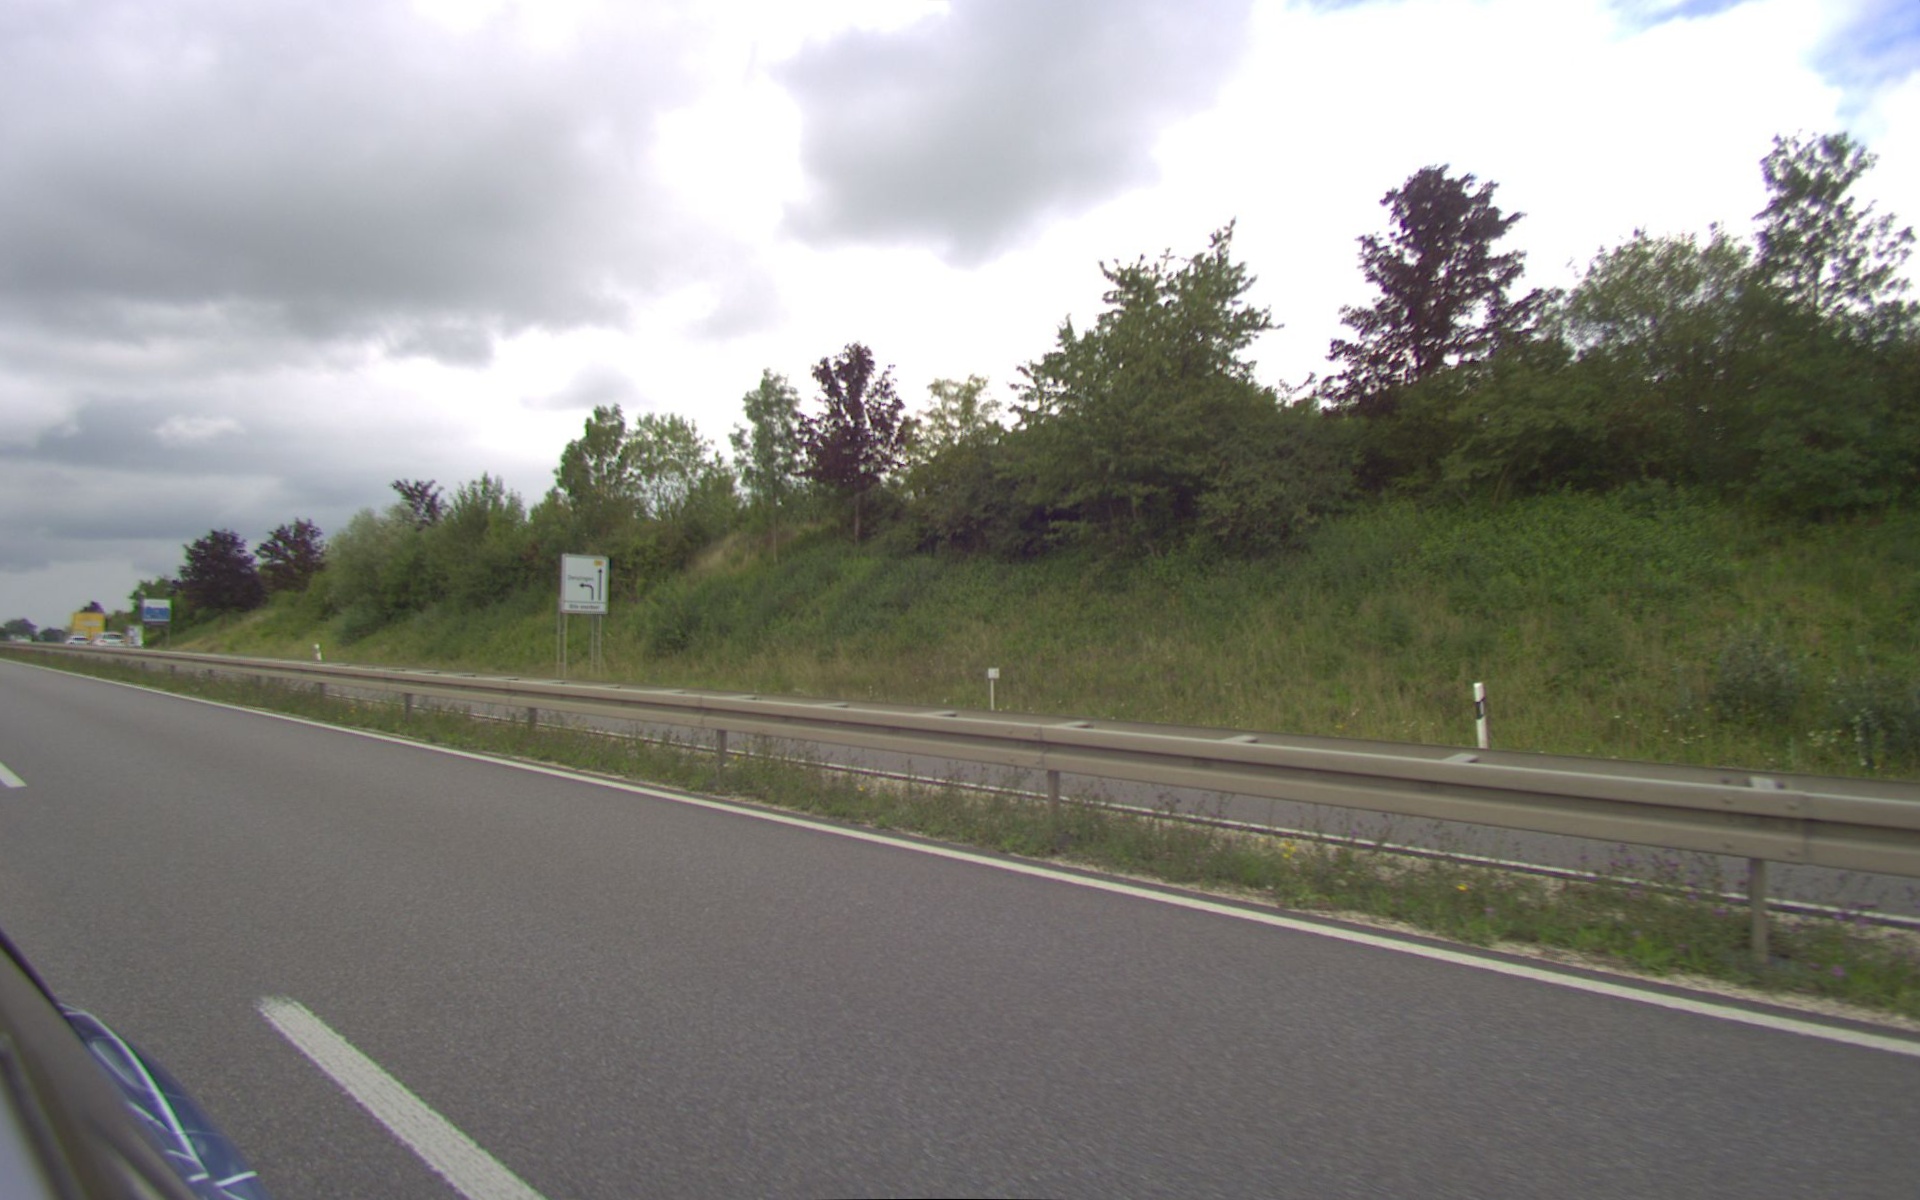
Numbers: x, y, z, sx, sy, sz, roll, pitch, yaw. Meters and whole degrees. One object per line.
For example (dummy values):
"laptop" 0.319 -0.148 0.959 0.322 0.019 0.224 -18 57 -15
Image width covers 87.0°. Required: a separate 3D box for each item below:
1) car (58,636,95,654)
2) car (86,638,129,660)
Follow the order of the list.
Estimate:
"car" -81.917 4.187 93.825 4.987 1.529 1.972 -4 -5 42
"car" -65.253 3.749 77.457 4.461 1.529 1.900 -4 -5 41
